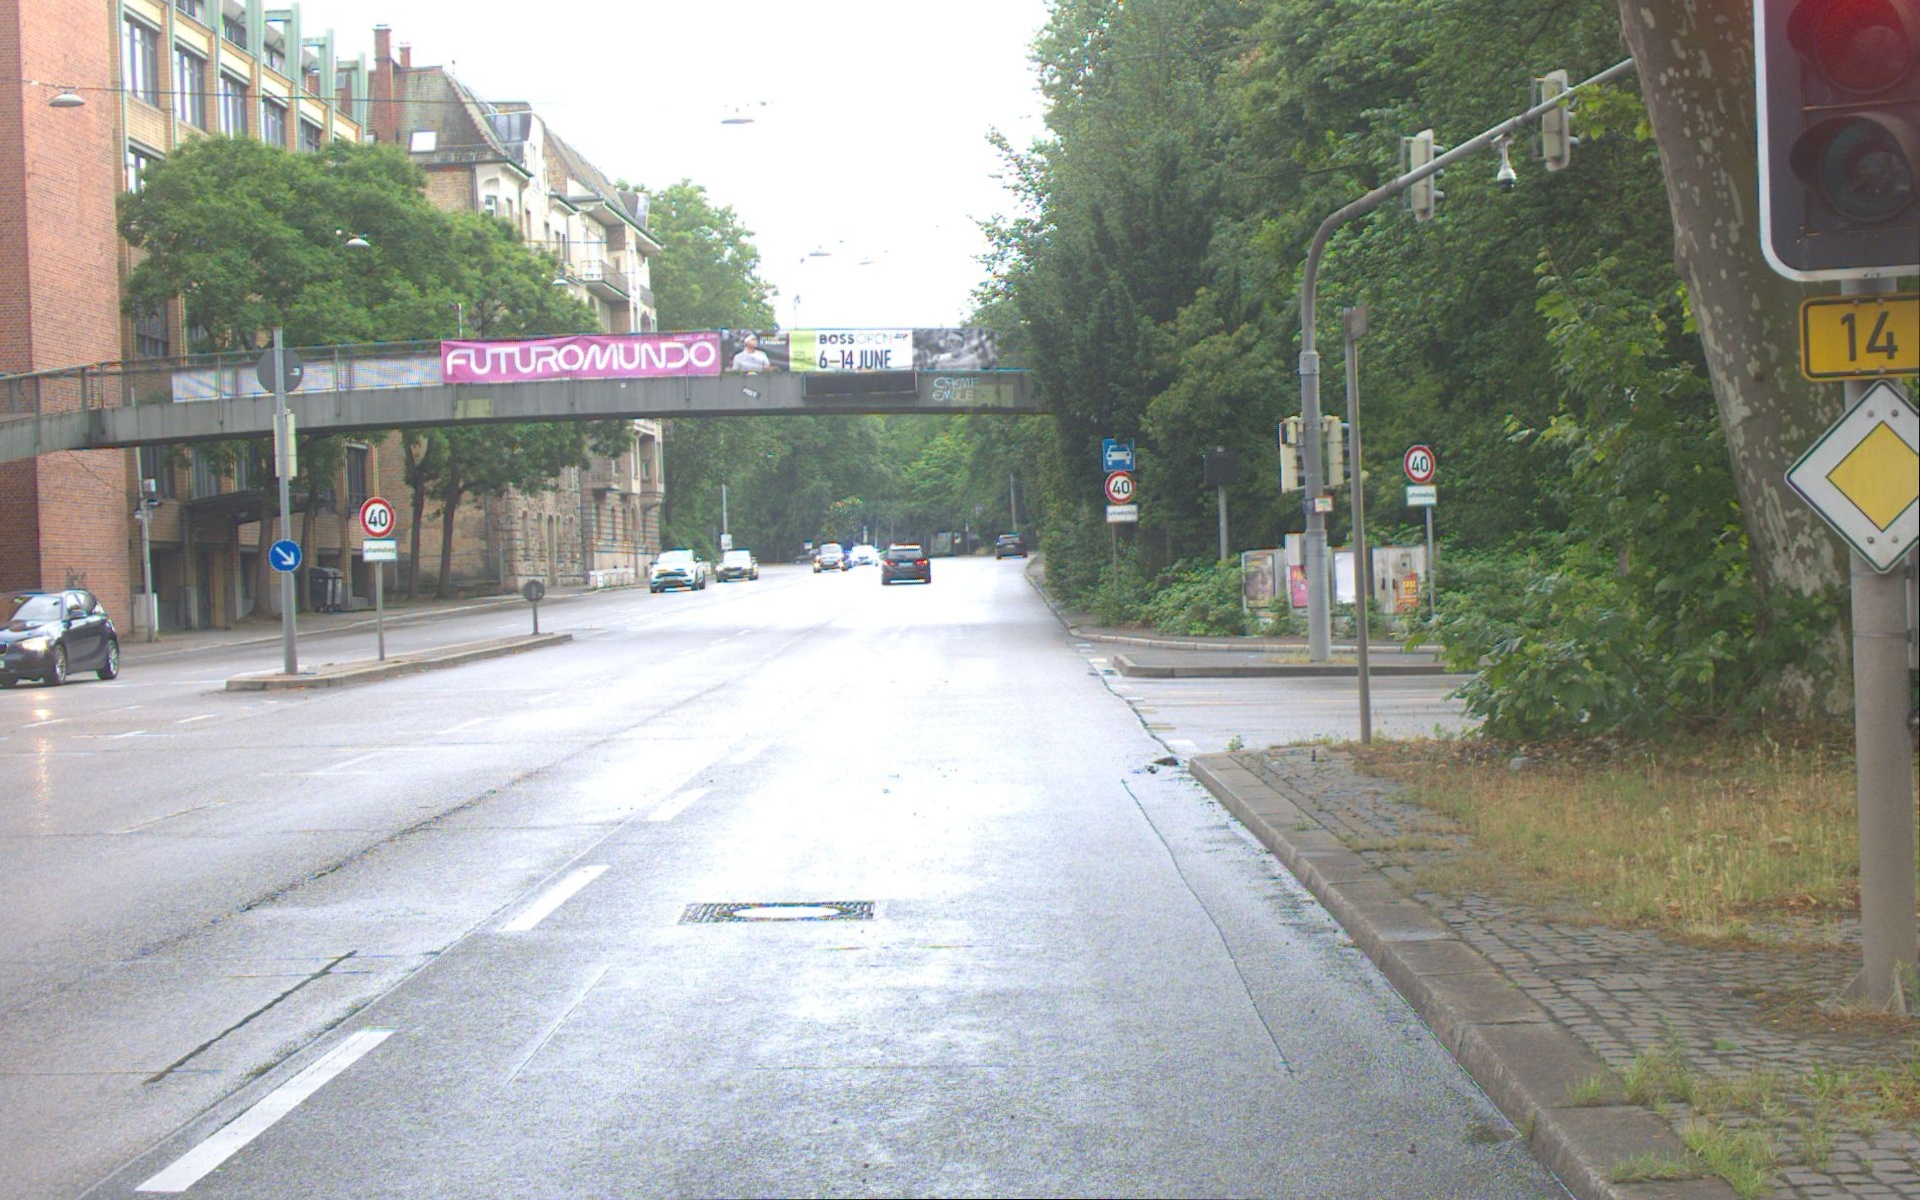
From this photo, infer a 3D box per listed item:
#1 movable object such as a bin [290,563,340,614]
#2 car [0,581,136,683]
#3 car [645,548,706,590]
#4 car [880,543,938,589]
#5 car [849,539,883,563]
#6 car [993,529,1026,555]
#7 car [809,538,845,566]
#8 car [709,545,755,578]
[{"bbox_3d":[-20.096,-0.362,107.134,1.282,1.513,1.273,-1,1,1],"label":"movable object such as a bin"},{"bbox_3d":[-13.730,0.475,51.061,1.686,1.414,4.214,-2,0,3],"label":"car"},{"bbox_3d":[-11.329,-1.251,137.071,1.890,1.604,4.456,-1,0,2],"label":"car"},{"bbox_3d":[-1.913,-1.274,127.941,2.004,1.638,4.376,-2,1,-2],"label":"car"},{"bbox_3d":[-5.872,-3.049,214.973,1.830,1.389,4.405,-3,0,1],"label":"car"},{"bbox_3d":[2.883,-3.386,201.857,1.842,1.448,3.777,1,1,-1],"label":"car"},{"bbox_3d":[-7.078,-2.550,182.674,1.683,1.431,3.862,-2,0,0],"label":"car"},{"bbox_3d":[-10.772,-1.821,162.728,1.709,1.459,4.041,-2,0,3],"label":"car"}]
